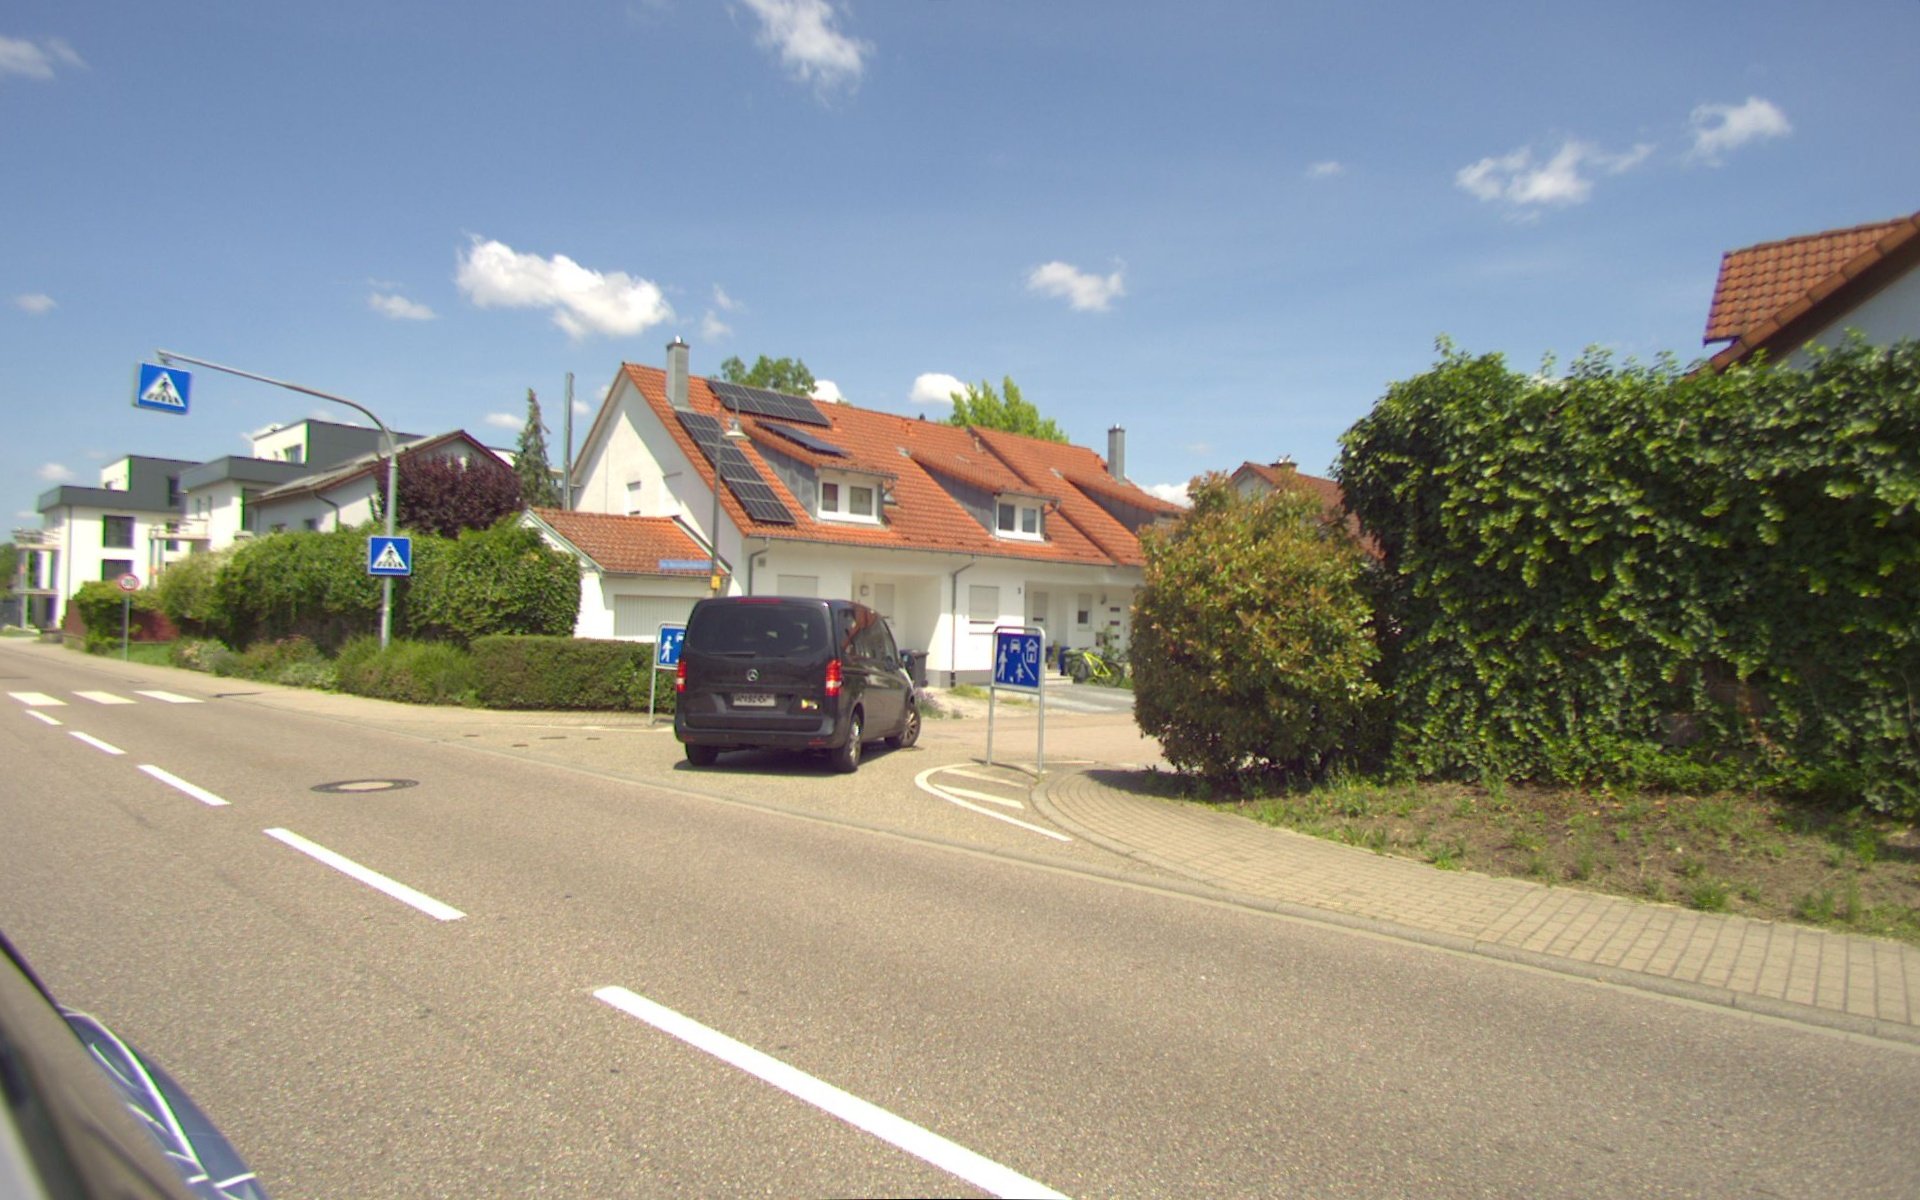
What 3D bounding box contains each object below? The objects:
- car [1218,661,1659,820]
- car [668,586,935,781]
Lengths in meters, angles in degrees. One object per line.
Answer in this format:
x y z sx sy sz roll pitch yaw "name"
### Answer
5.005 1.380 10.952 4.001 1.295 1.642 -1 -5 44 "car"
-1.645 0.926 12.525 1.976 1.866 5.059 1 -3 6 "car"
